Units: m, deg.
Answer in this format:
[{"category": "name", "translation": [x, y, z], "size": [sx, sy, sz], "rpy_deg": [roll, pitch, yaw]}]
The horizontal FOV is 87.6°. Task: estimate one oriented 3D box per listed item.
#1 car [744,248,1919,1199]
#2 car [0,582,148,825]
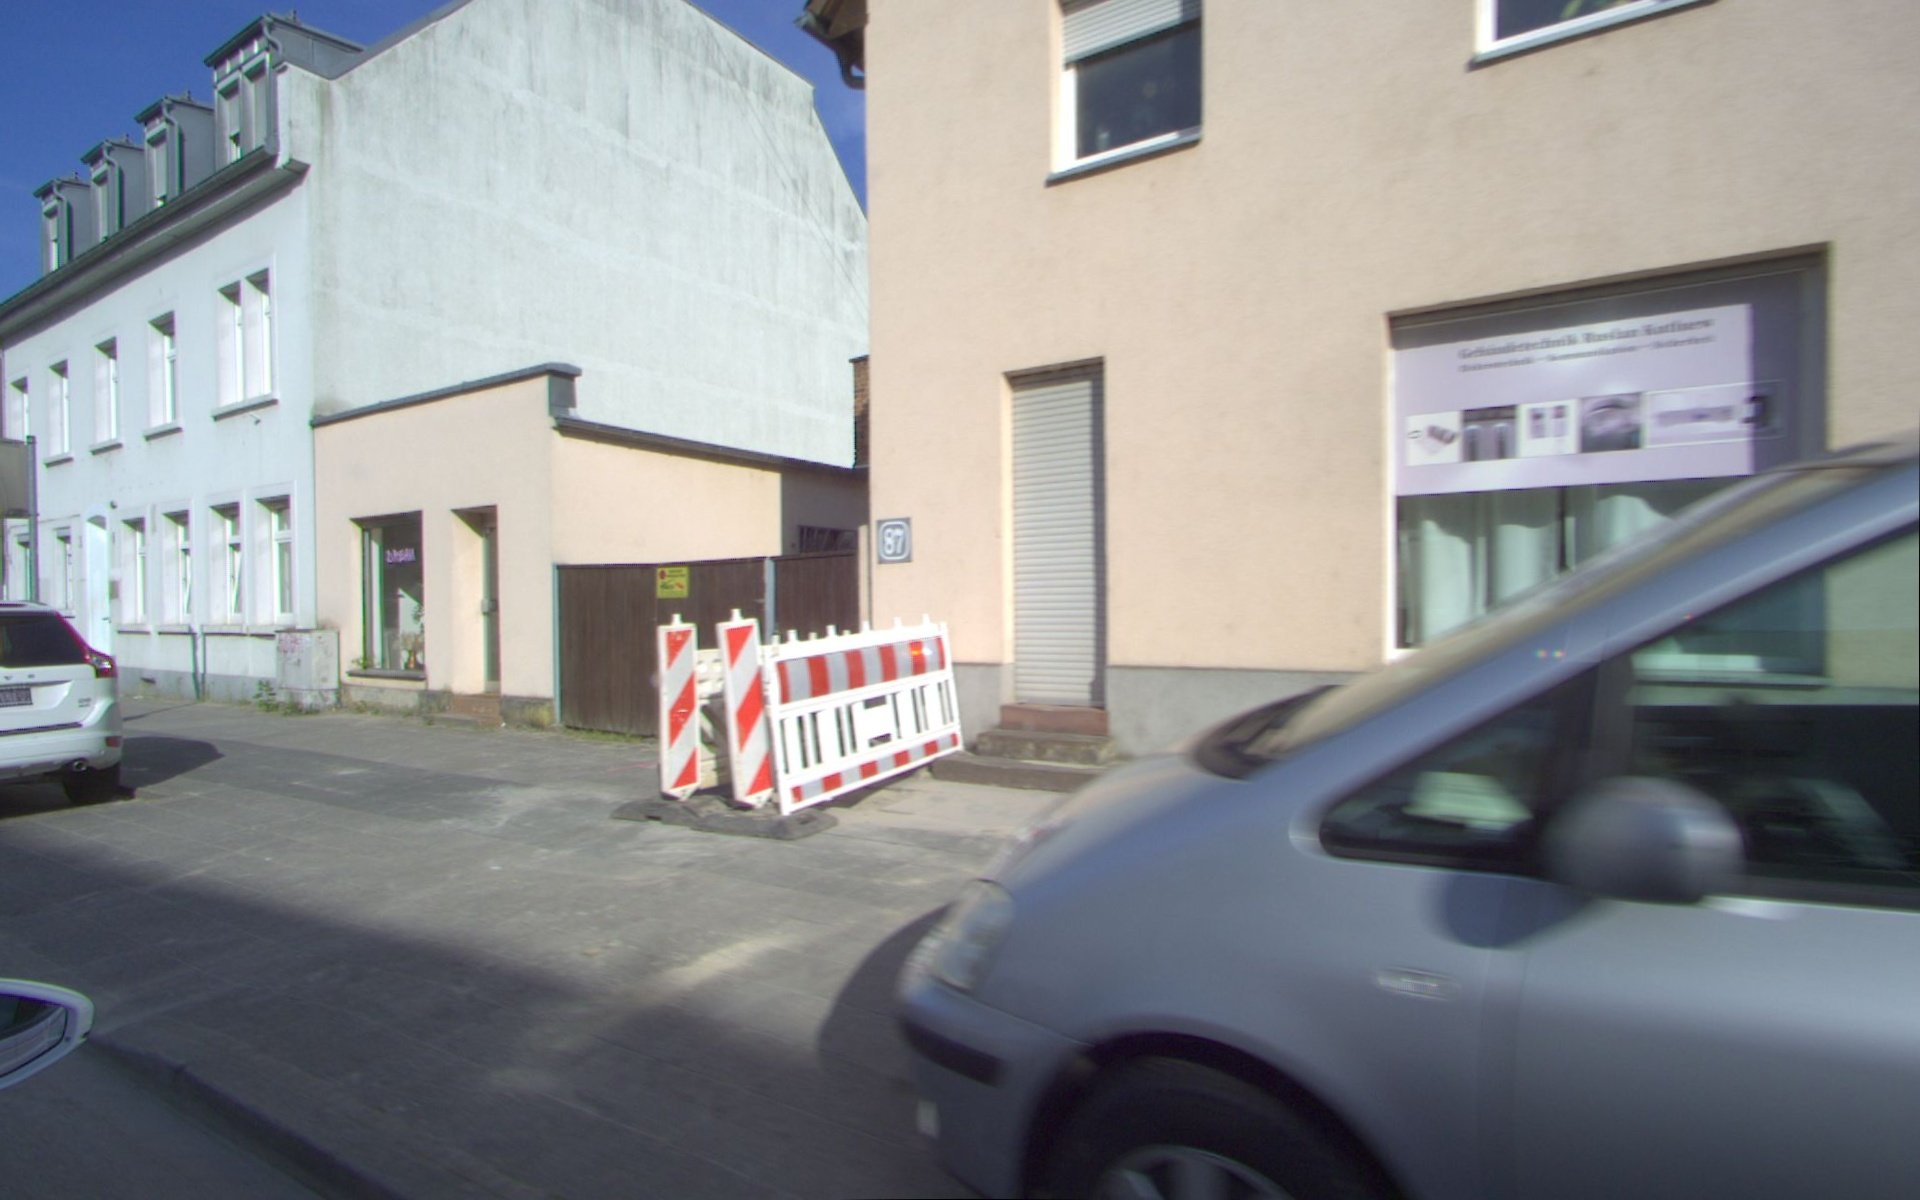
[{"category": "car", "translation": [1.919, 0.477, 1.609], "size": [4.418, 1.764, 1.774], "rpy_deg": [-1, 1, 32]}, {"category": "car", "translation": [-8.722, 0.781, 8.264], "size": [4.413, 1.706, 1.807], "rpy_deg": [-1, 2, 33]}]
